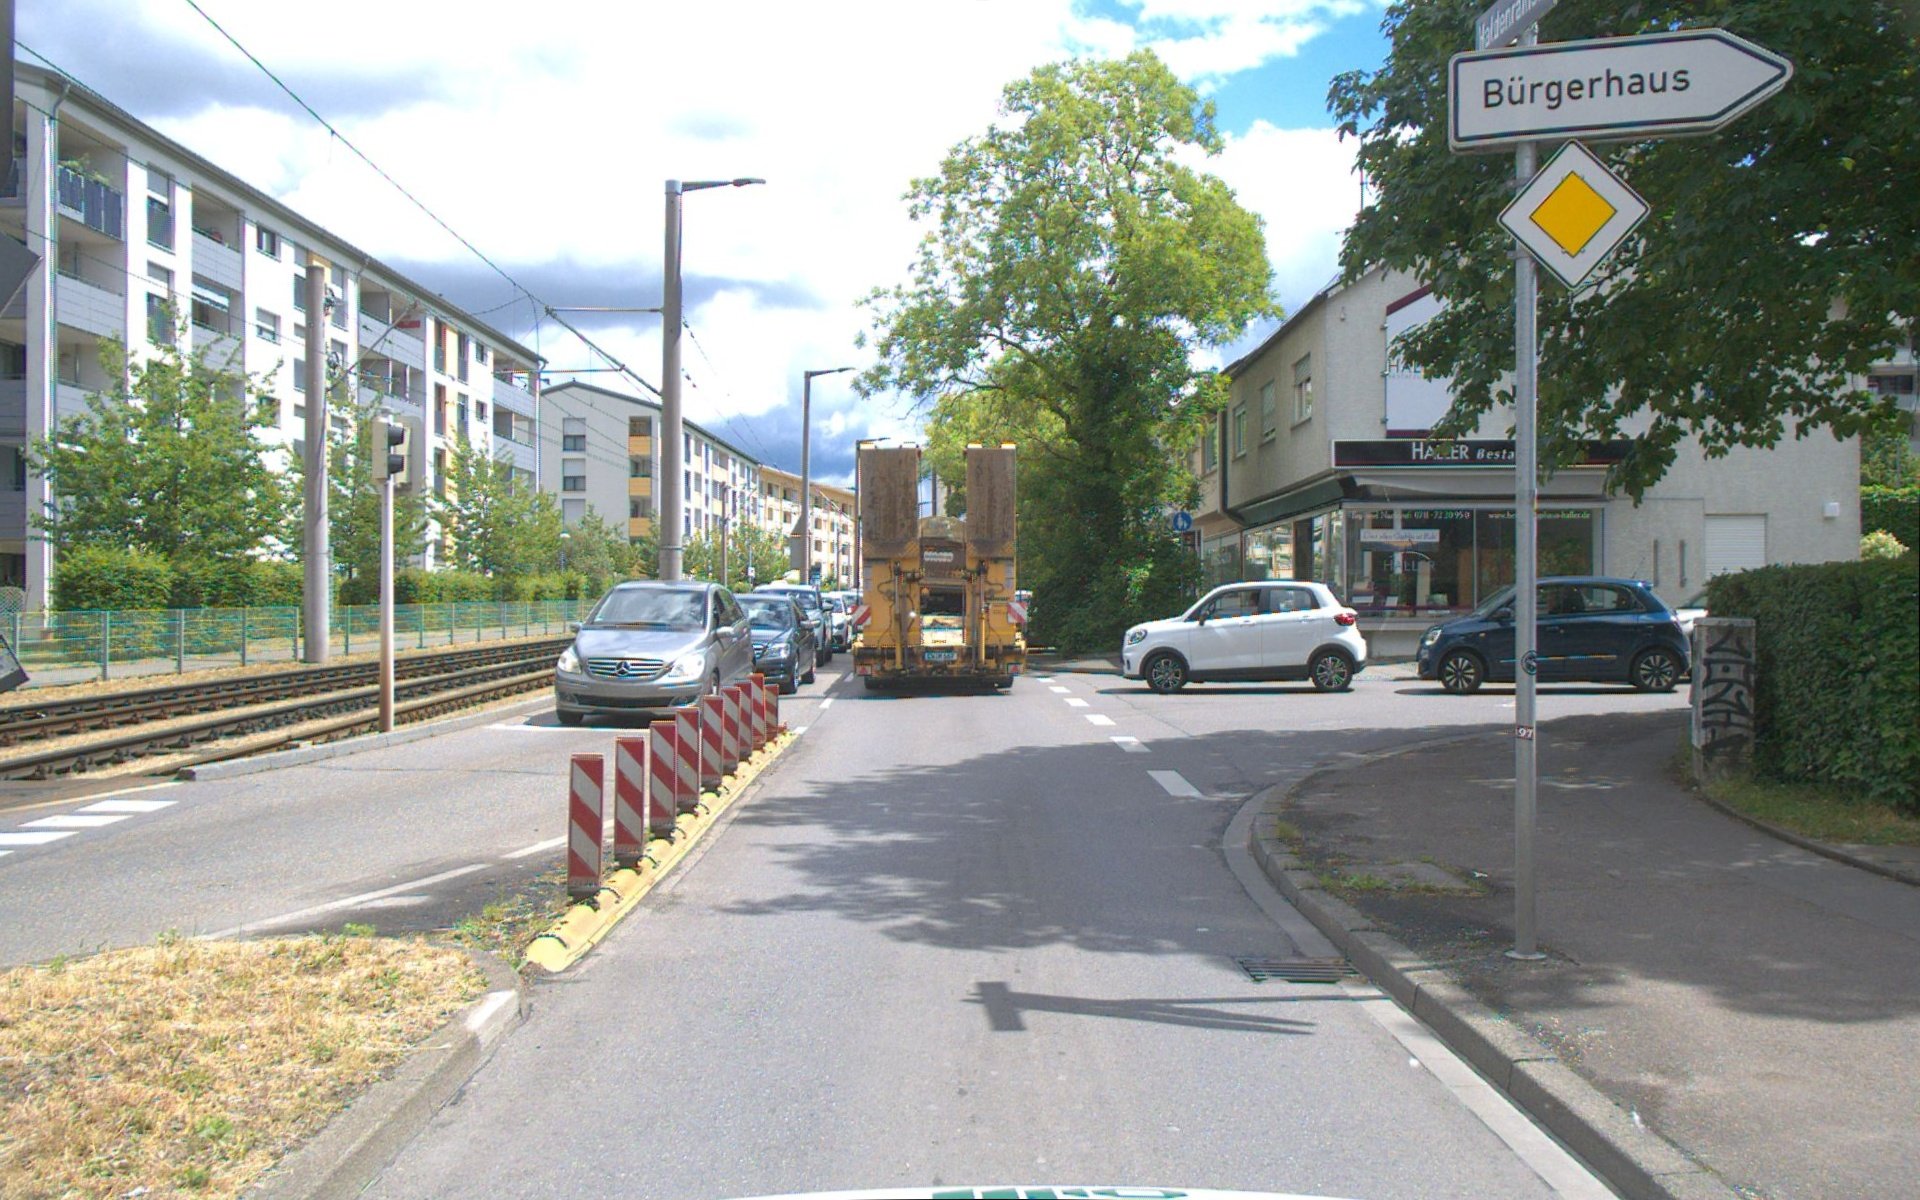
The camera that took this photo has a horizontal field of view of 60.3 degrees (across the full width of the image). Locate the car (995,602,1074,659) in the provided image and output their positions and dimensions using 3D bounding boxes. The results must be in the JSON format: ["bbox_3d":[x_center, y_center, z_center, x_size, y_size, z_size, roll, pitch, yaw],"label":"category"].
[{"bbox_3d":[2.085,0.841,47.558,1.953,1.411,3.999,-2,1,-2],"label":"car"}]

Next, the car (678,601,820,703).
[{"bbox_3d":[-3.168,0.745,25.468,1.568,1.405,3.957,-1,0,1],"label":"car"}]

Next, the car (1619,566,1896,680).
[{"bbox_3d":[11.965,0.311,24.921,3.393,1.550,1.707,-2,1,-9],"label":"car"}]

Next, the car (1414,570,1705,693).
[{"bbox_3d":[8.207,0.420,22.966,3.619,1.549,2.002,-1,1,16],"label":"car"}]

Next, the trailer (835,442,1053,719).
[{"bbox_3d":[-0.581,-0.409,29.212,2.990,3.838,11.605,-2,1,-4],"label":"trailer"}]

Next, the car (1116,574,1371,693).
[{"bbox_3d":[4.170,0.479,24.368,3.521,1.612,2.002,-1,0,11],"label":"car"}]

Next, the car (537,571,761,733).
[{"bbox_3d":[-3.562,0.565,19.685,1.765,1.681,4.132,-1,0,1],"label":"car"}]

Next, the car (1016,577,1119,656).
[{"bbox_3d":[2.427,0.327,38.252,1.953,1.646,3.999,-2,1,-2],"label":"car"}]

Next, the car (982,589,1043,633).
[{"bbox_3d":[1.875,0.380,60.330,1.953,1.411,3.999,-2,1,-2],"label":"car"}]

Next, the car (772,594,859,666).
[{"bbox_3d":[-3.646,0.730,42.284,1.953,1.621,3.890,-2,1,-2],"label":"car"}]

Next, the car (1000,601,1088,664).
[{"bbox_3d":[2.151,0.817,43.254,1.953,1.411,3.999,-2,1,-2],"label":"car"}]

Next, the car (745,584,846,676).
[{"bbox_3d":[-3.349,0.595,34.235,1.568,1.762,3.939,-1,0,1],"label":"car"}]

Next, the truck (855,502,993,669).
[{"bbox_3d":[-0.992,-0.394,38.270,2.778,3.388,7.979,-2,1,-4],"label":"truck"}]

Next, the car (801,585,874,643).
[{"bbox_3d":[-3.640,0.391,49.732,1.953,1.546,3.890,-2,1,-2],"label":"car"}]
